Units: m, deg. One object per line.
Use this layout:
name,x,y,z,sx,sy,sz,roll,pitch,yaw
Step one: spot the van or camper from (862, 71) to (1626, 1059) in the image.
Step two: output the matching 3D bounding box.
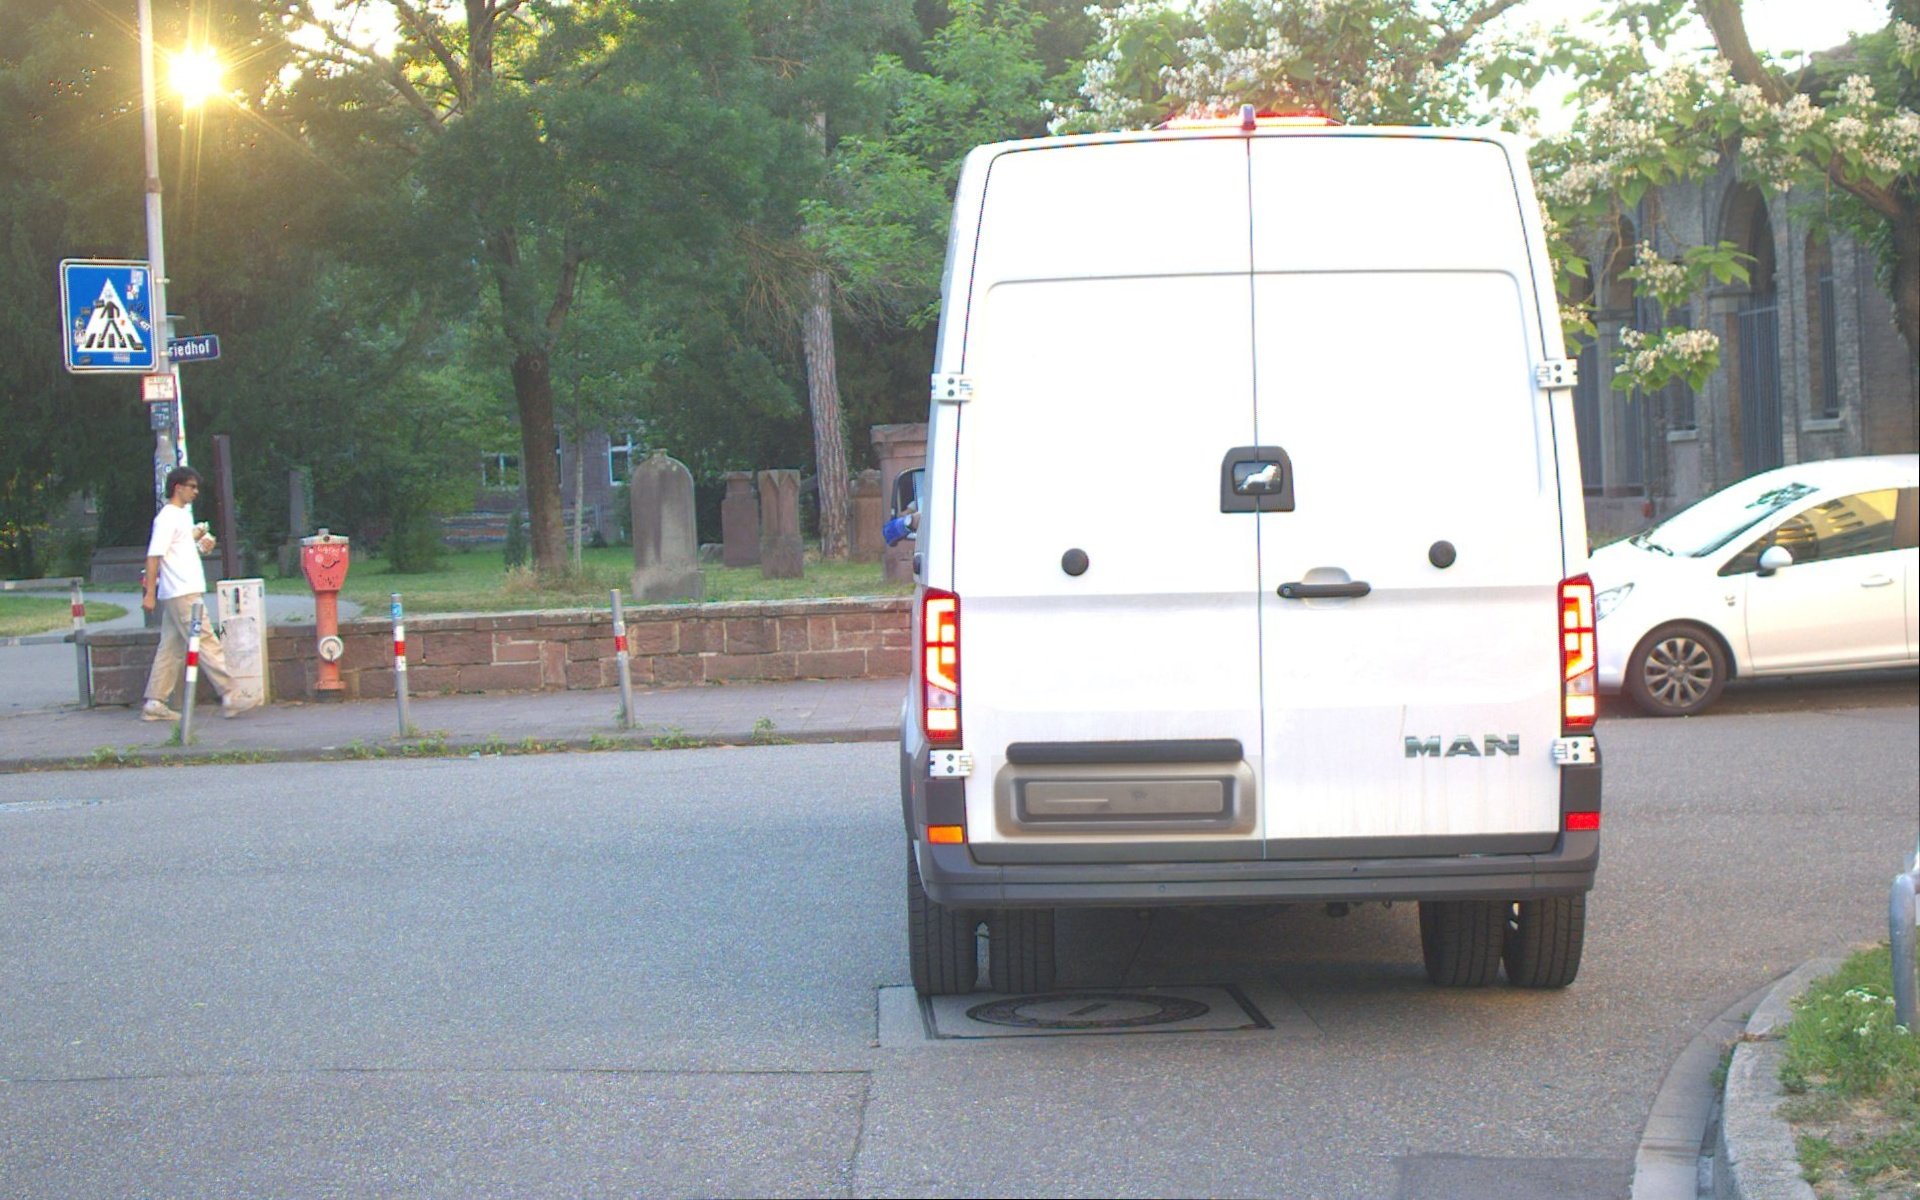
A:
van or camper,0.869,-0.156,12.414,1.993,2.609,6.403,-1,1,2

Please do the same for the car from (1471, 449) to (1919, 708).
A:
car,5.497,-0.187,22.674,3.854,1.568,1.958,-1,2,-3

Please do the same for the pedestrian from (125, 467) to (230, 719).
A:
pedestrian,-5.672,-0.060,24.940,0.593,1.802,0.621,-1,2,0
